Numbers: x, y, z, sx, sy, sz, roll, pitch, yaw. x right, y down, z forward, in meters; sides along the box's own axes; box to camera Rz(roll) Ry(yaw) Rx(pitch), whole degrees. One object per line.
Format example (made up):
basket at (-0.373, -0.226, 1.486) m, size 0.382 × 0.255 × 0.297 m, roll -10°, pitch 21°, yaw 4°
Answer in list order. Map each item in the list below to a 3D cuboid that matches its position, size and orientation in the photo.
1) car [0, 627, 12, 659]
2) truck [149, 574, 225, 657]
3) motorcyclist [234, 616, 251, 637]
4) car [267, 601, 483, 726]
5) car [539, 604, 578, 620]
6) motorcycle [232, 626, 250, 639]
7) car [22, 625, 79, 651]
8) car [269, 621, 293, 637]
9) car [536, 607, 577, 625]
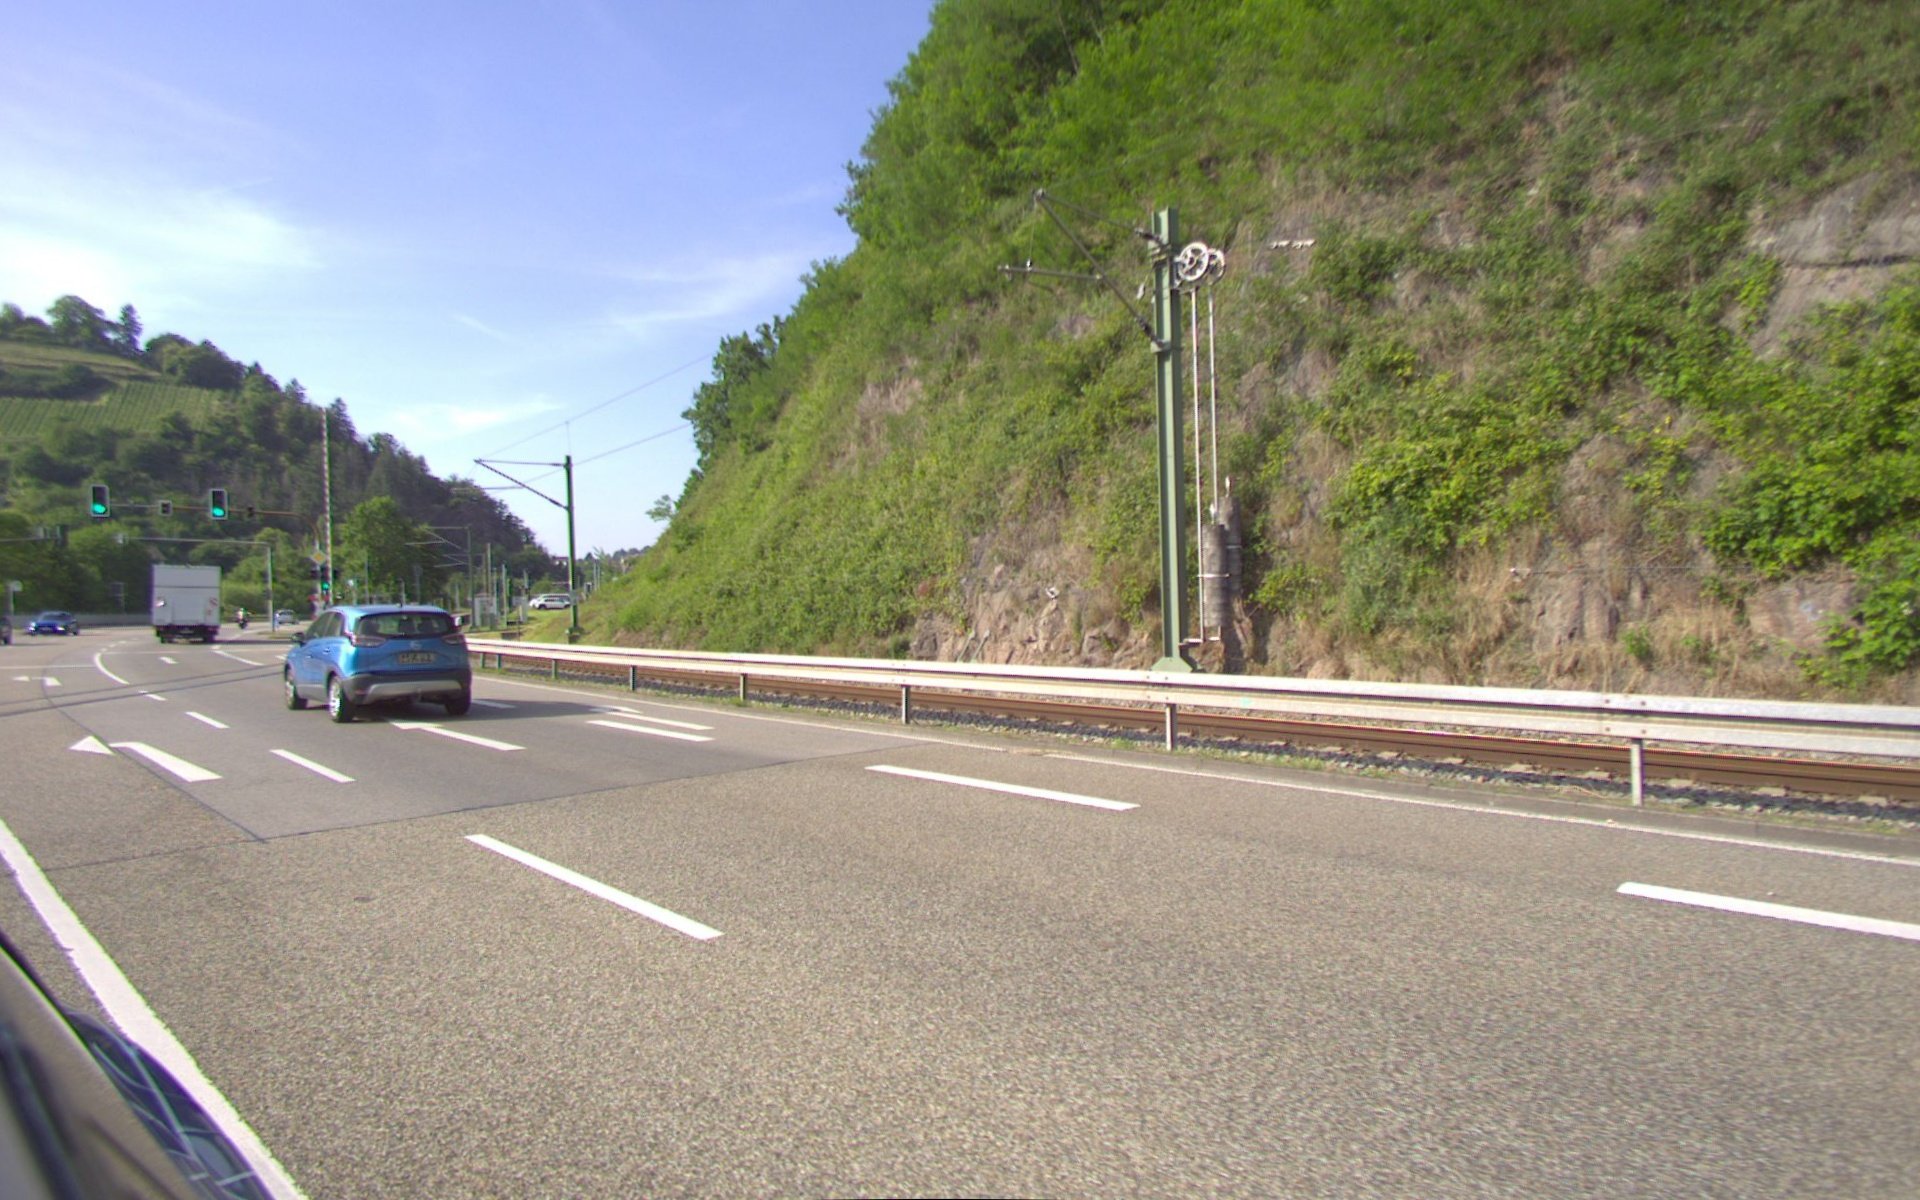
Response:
car at (-44.015, 1.953, 45.146) m, size 1.967 × 1.403 × 4.009 m, roll -1°, pitch 0°, yaw -36°
truck at (-39.197, 0.791, 51.333) m, size 2.859 × 3.827 × 8.912 m, roll 0°, pitch -1°, yaw -37°
motorcyclist at (-58.656, 2.170, 82.709) m, size 0.992 × 1.728 × 0.868 m, roll 0°, pitch -1°, yaw -28°
car at (-8.723, 0.834, 14.944) m, size 4.136 × 1.582 × 1.699 m, roll -1°, pitch -1°, yaw 44°
car at (-49.867, 1.505, 125.843) m, size 4.376 × 1.817 × 2.007 m, roll -1°, pitch 0°, yaw -20°
motorcycle at (-58.699, 2.658, 82.638) m, size 0.813 × 0.961 × 2.225 m, roll -4°, pitch 1°, yaw -26°
car at (-55.602, 2.294, 61.914) m, size 1.837 × 1.503 × 4.012 m, roll 0°, pitch -1°, yaw -31°
car at (-74.396, 3.180, 110.962) m, size 1.668 × 1.669 × 4.185 m, roll 0°, pitch 0°, yaw -27°
car at (-43.572, 1.709, 109.314) m, size 3.931 × 1.763 × 1.646 m, roll -1°, pitch 1°, yaw -18°
